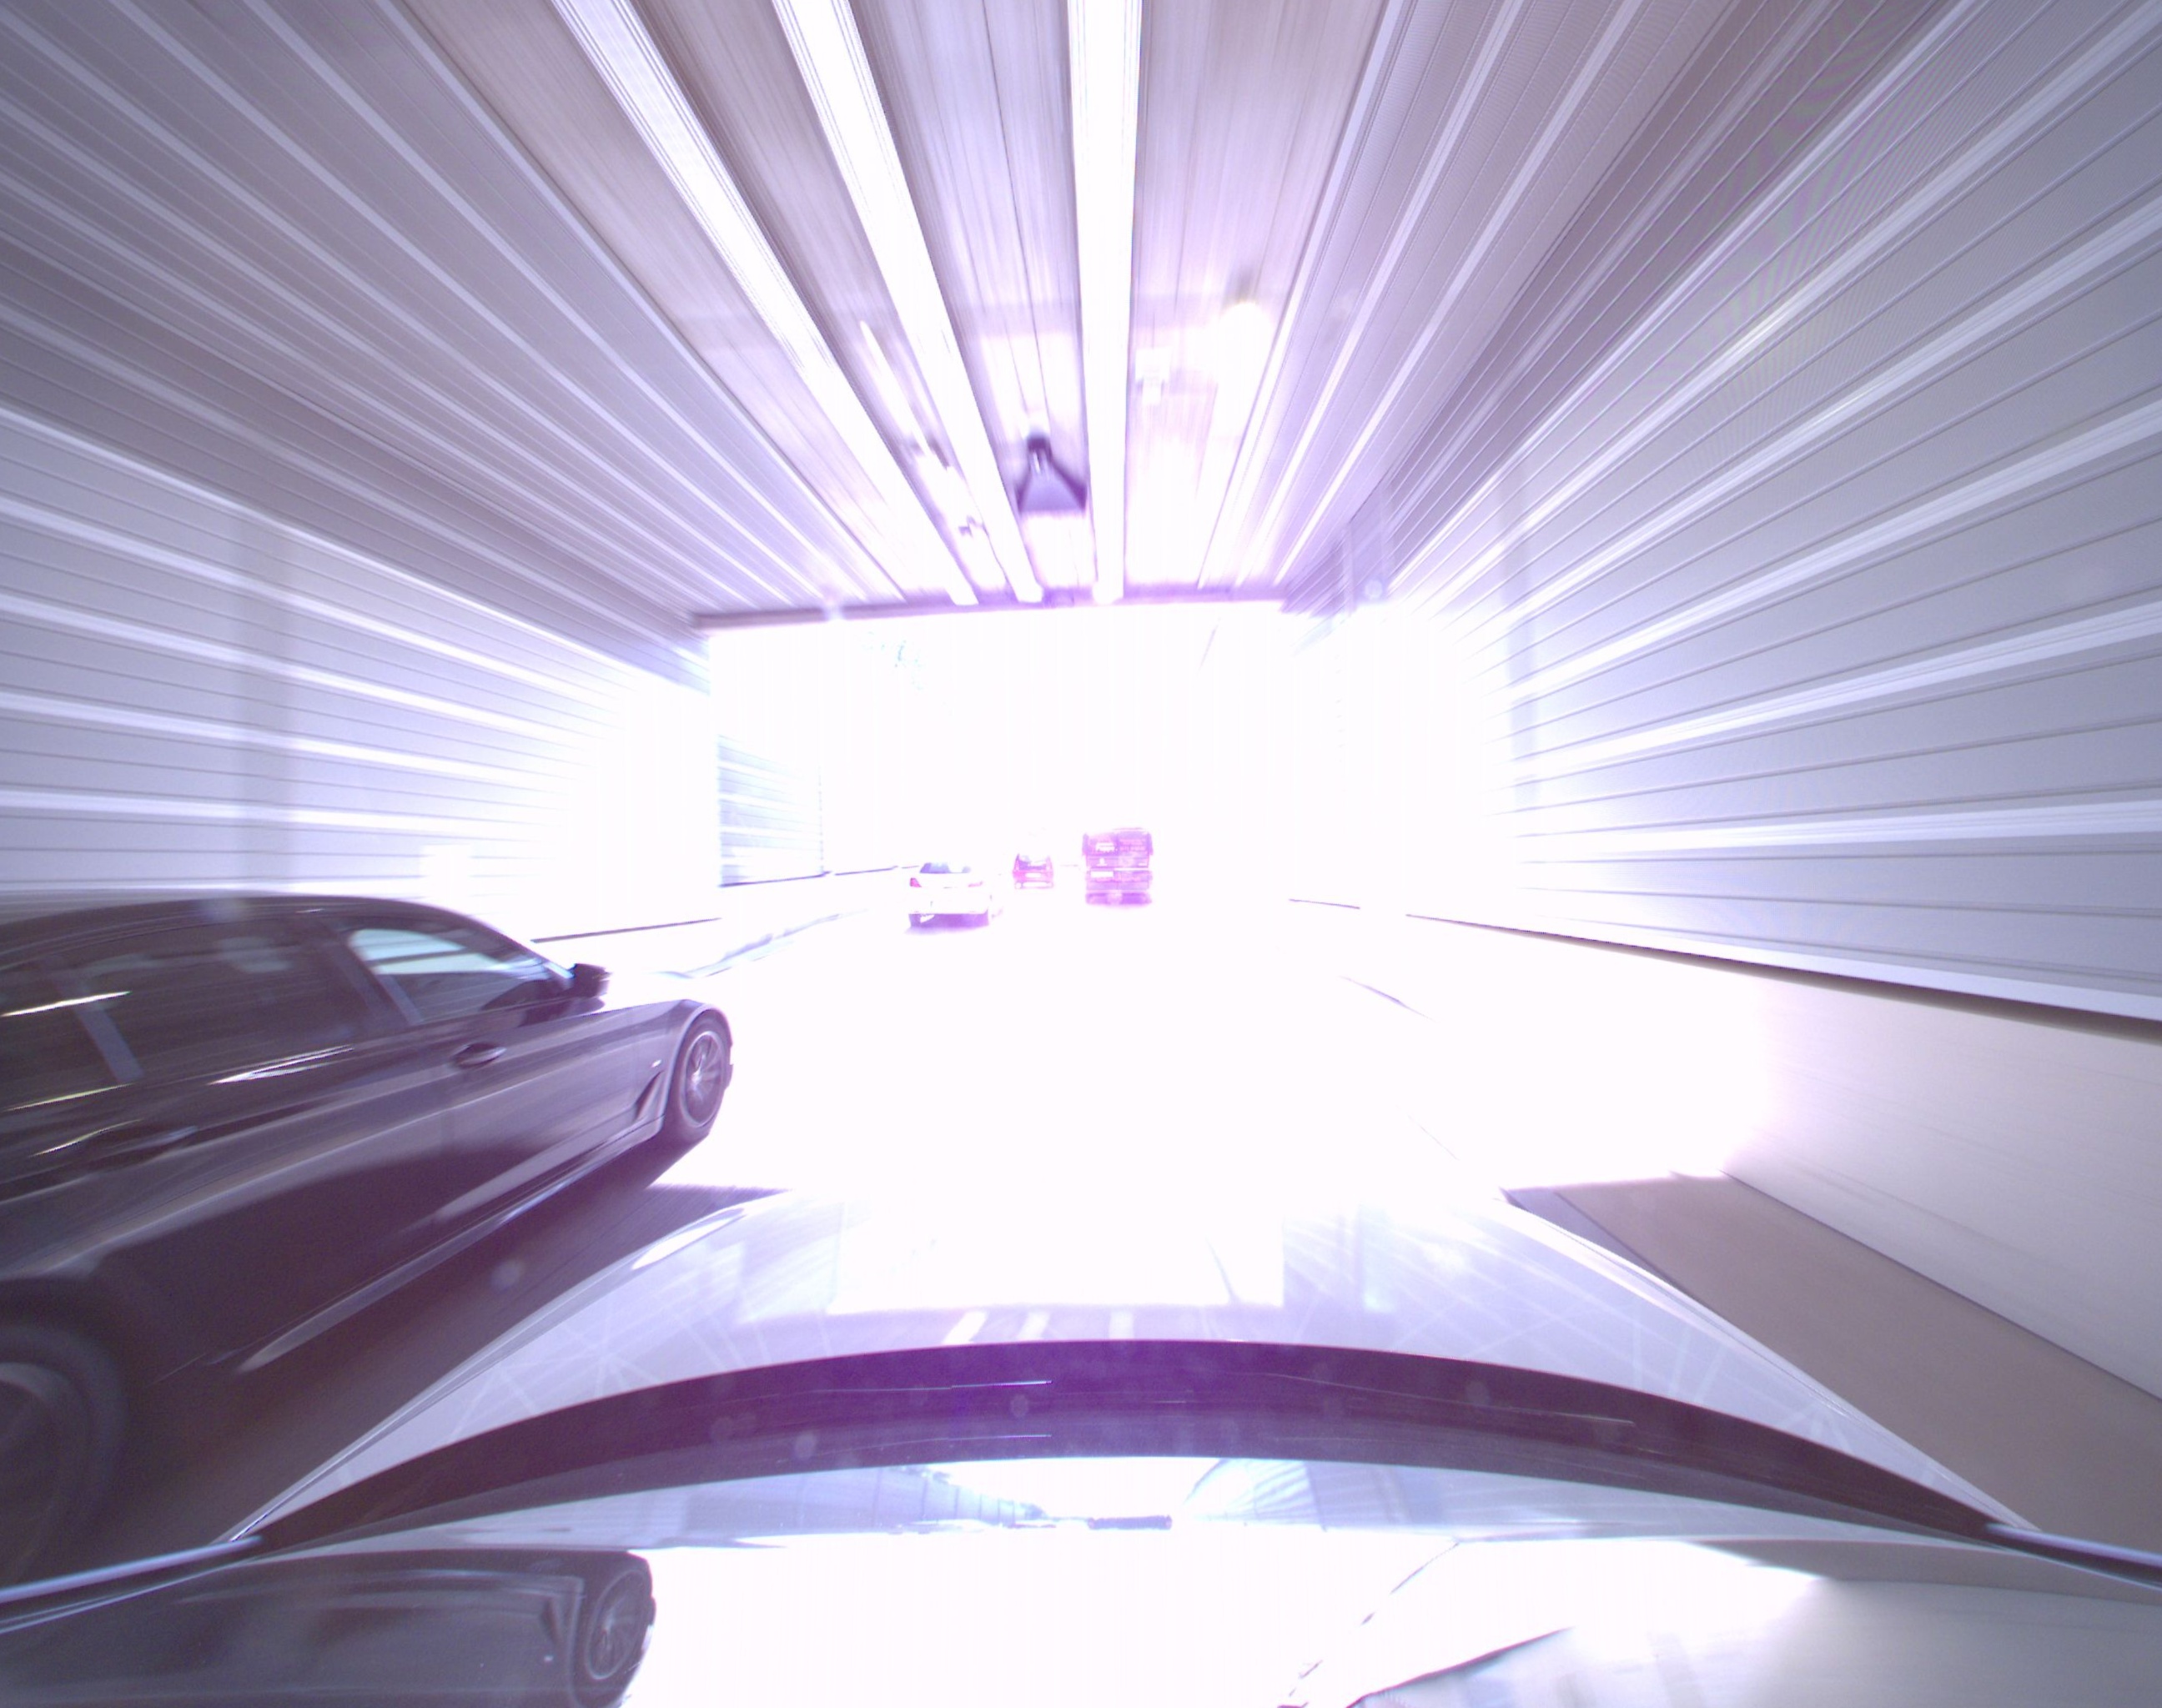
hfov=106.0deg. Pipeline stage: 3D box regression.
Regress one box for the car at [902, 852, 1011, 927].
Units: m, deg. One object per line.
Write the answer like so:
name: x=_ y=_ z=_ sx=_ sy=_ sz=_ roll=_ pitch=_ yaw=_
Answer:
car: x=-2.615 y=0.694 z=17.958 sx=1.612 sy=1.403 sz=3.855 roll=-1 pitch=1 yaw=3

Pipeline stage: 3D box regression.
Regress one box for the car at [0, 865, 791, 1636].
car: x=-2.912 y=0.787 z=2.856 sx=1.801 sy=1.439 sz=5.005 roll=-1 pitch=0 yaw=2

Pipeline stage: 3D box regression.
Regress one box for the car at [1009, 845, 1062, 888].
car: x=-1.679 y=0.423 z=30.943 sx=1.682 sy=1.483 sz=3.321 roll=-1 pitch=2 yaw=2

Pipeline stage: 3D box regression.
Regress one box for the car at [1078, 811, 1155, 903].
car: x=1.055 y=0.053 z=23.729 sx=2.021 sy=2.402 sz=3.976 roll=-1 pitch=1 yaw=3

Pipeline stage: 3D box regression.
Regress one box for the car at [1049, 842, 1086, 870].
car: x=-0.732 y=0.088 z=45.883 sx=1.885 sy=1.474 sz=3.993 roll=-1 pitch=1 yaw=2
